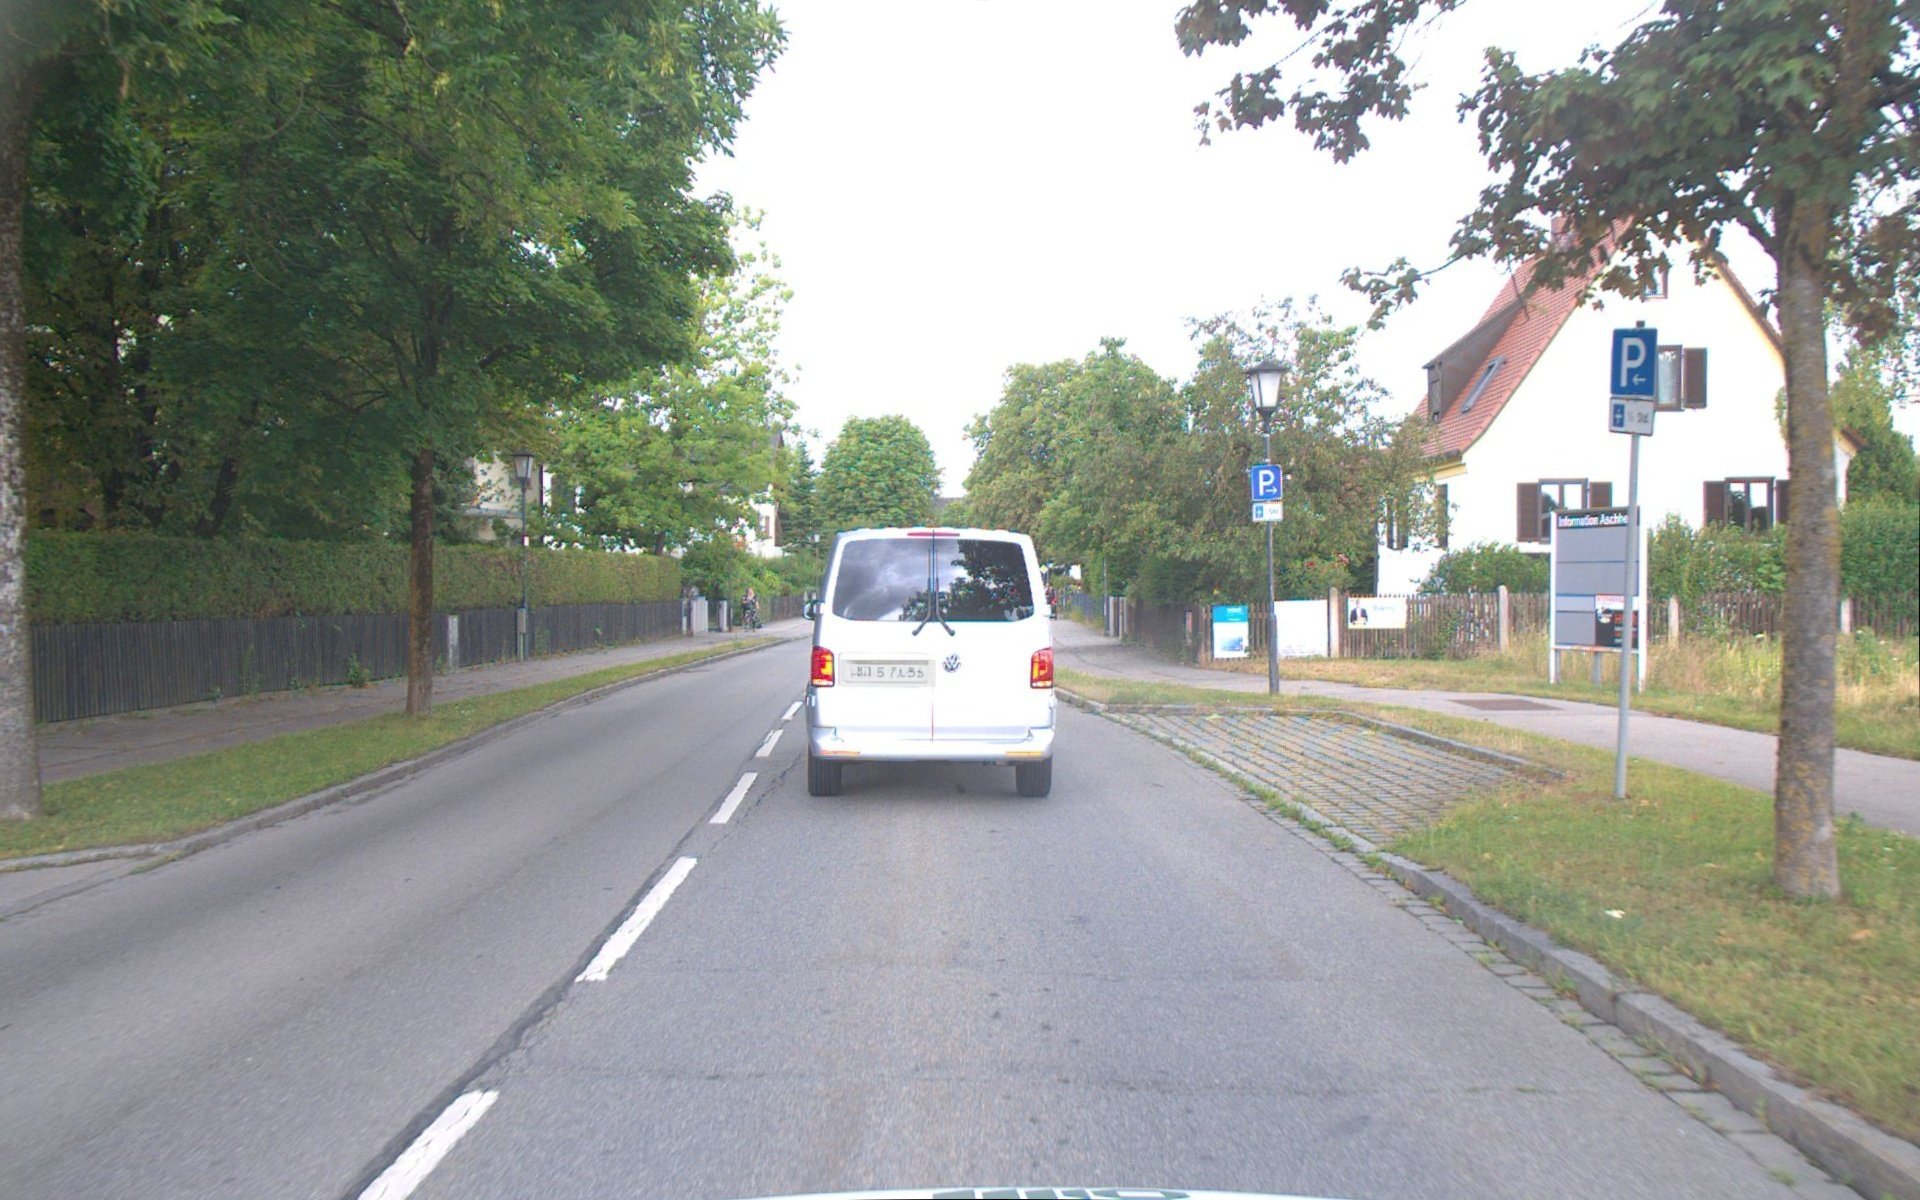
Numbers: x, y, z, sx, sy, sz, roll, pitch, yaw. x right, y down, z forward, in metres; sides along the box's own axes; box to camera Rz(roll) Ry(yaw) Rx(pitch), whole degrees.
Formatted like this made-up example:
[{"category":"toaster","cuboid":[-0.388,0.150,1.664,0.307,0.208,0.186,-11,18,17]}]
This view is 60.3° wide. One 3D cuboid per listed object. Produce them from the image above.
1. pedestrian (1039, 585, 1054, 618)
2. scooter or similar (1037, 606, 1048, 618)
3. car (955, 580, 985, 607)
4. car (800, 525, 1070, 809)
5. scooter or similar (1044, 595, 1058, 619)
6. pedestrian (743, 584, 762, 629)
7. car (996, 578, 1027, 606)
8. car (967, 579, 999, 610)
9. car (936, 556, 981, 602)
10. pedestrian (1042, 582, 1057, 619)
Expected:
[{"category":"pedestrian","cuboid":[4.062,0.073,77.569,0.610,1.550,0.579,1,0,-3]},{"category":"scooter or similar","cuboid":[3.920,0.568,78.244,0.465,0.554,0.458,1,0,-3]},{"category":"car","cuboid":[0.762,-0.526,127.954,1.951,2.049,4.003,-1,0,5]},{"category":"car","cuboid":[-0.163,0.458,13.400,1.849,1.945,4.000,0,0,0]},{"category":"scooter or similar","cuboid":[3.878,0.303,70.370,0.540,0.988,0.620,1,0,-3]},{"category":"pedestrian","cuboid":[-7.404,0.241,58.952,0.610,1.576,0.522,1,0,-3]},{"category":"car","cuboid":[3.956,-0.612,126.624,1.951,2.049,4.003,-1,0,7]},{"category":"car","cuboid":[1.580,-0.404,113.322,1.952,2.049,4.002,-1,0,4]},{"category":"car","cuboid":[-0.035,-0.963,77.436,1.952,2.049,4.001,1,0,2]},{"category":"pedestrian","cuboid":[3.857,0.014,71.102,0.540,1.576,0.611,1,0,-3]}]
